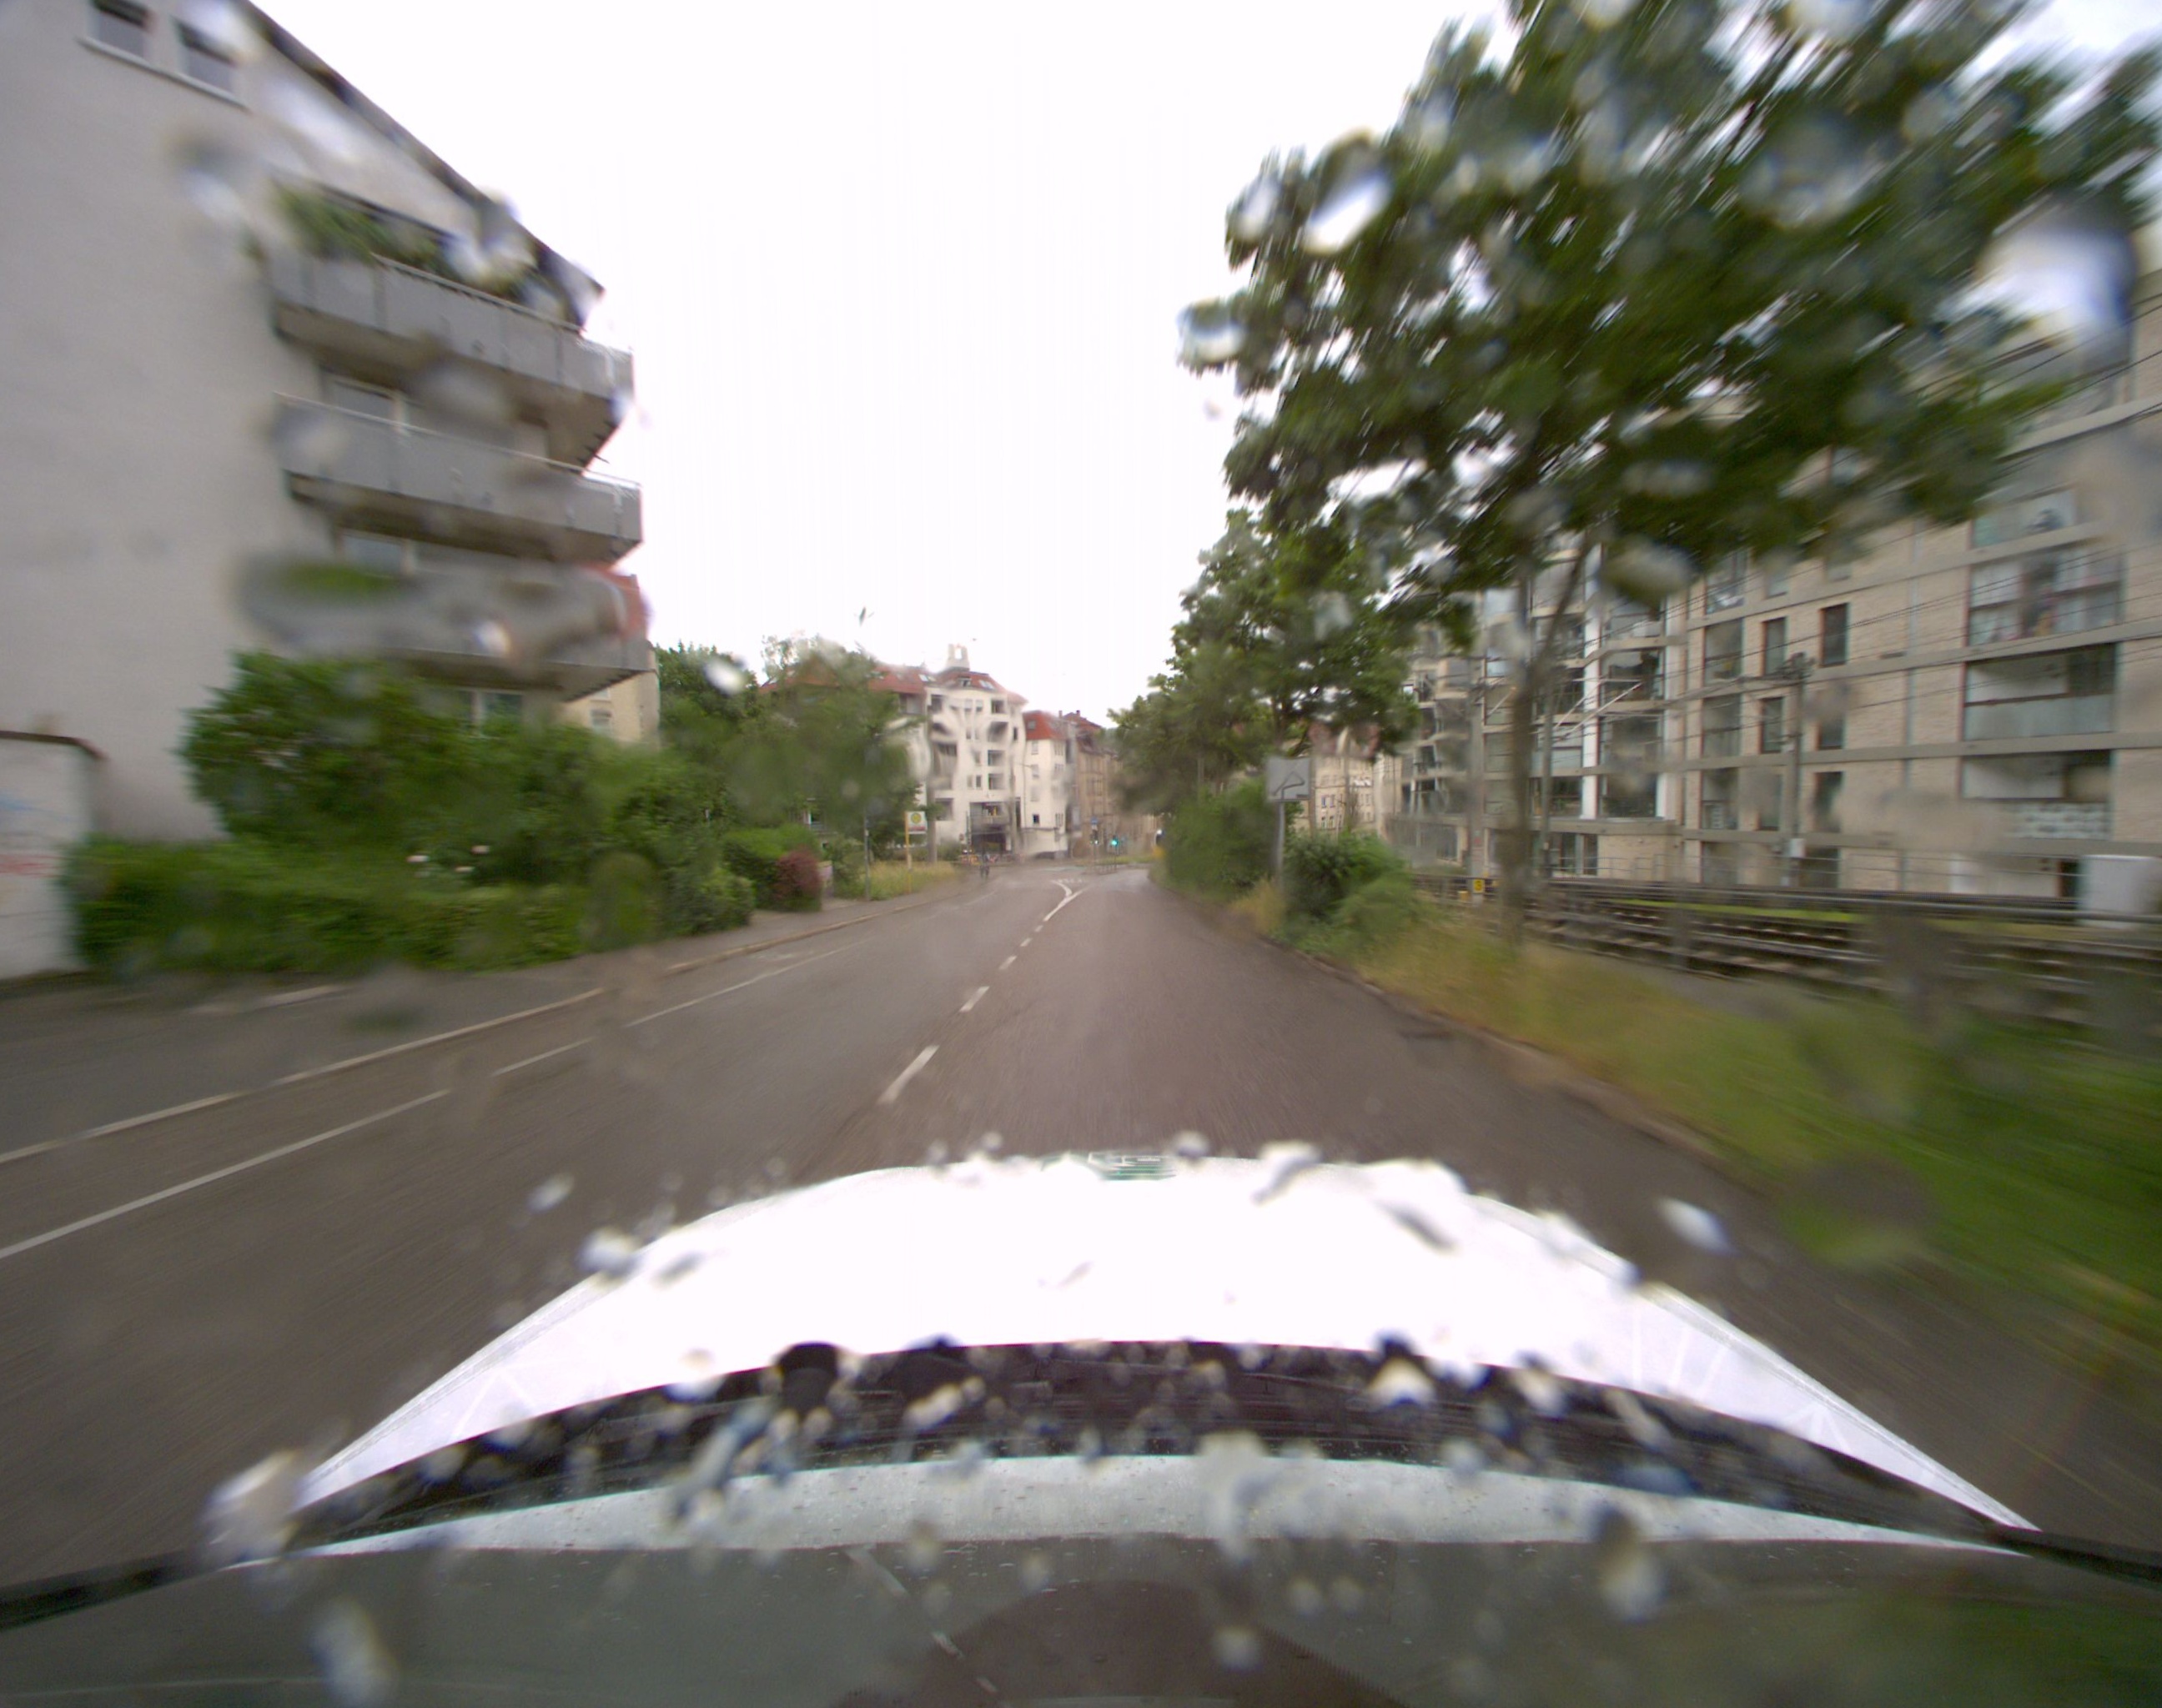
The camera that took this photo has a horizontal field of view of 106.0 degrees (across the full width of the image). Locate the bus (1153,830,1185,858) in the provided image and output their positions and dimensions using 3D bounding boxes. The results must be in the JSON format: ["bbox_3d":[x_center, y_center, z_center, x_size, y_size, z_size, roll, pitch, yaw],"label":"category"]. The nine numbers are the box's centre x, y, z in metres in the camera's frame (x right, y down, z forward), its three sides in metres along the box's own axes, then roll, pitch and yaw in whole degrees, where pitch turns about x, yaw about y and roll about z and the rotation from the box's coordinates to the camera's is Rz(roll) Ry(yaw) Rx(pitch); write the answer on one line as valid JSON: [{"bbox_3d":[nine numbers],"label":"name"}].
[{"bbox_3d":[9.376,-1.032,86.168,1.975,2.871,4.024,-1,0,27],"label":"bus"}]

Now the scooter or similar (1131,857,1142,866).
[{"bbox_3d":[4.883,0.650,71.482,0.480,0.761,1.338,-1,0,29],"label":"scooter or similar"}]
